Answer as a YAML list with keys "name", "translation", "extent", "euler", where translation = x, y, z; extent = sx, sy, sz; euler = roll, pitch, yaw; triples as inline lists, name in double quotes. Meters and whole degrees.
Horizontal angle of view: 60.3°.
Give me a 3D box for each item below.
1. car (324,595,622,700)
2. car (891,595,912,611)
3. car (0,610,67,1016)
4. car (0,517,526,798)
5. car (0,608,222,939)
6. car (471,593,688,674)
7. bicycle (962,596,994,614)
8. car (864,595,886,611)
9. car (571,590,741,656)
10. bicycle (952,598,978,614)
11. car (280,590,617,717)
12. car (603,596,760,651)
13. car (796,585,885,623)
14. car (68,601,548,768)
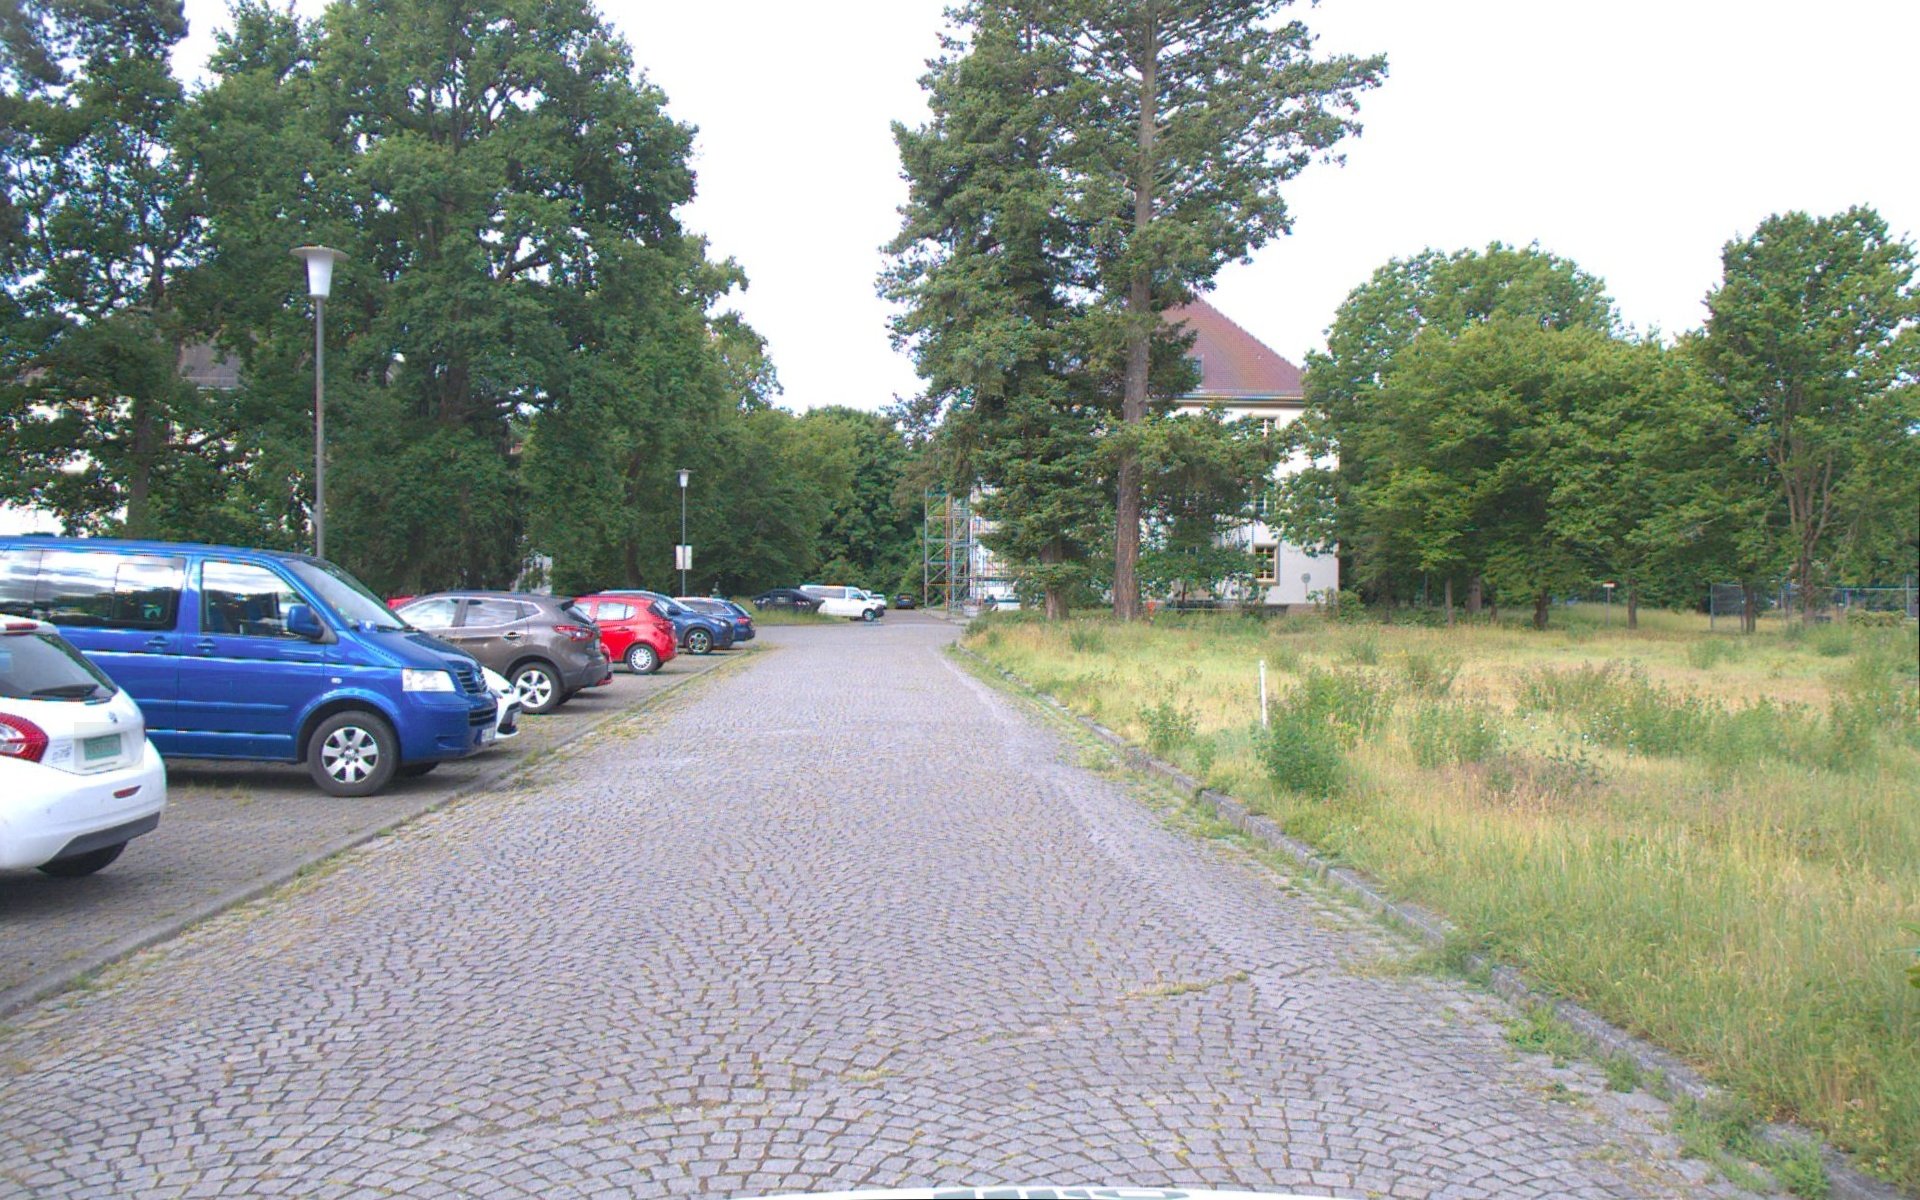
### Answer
- name: "car"
  translation: [-7.387, 0.699, 25.431]
  extent: [4.084, 1.536, 1.905]
  euler: [0, 0, -5]
- name: "car"
  translation: [-5.811, 0.297, 163.423]
  extent: [1.913, 1.548, 3.996]
  euler: [0, 0, -5]
- name: "car"
  translation: [-5.631, 0.808, 5.688]
  extent: [4.082, 1.517, 1.864]
  euler: [0, 0, -2]
- name: "car"
  translation: [-6.231, 0.433, 13.866]
  extent: [4.688, 2.159, 2.113]
  euler: [0, 0, -4]
- name: "car"
  translation: [-6.233, 0.816, 8.566]
  extent: [3.986, 1.523, 1.845]
  euler: [0, 0, -3]
- name: "car"
  translation: [-7.538, 0.636, 33.063]
  extent: [3.976, 1.552, 1.903]
  euler: [0, 0, -5]
- name: "bicycle"
  translation: [1.271, 0.335, 114.726]
  extent: [2.195, 1.276, 0.777]
  euler: [0, 0, -1]
- name: "car"
  translation: [-8.414, 0.311, 162.964]
  extent: [2.077, 1.548, 3.996]
  euler: [0, 0, -4]
- name: "car"
  translation: [-7.893, 0.590, 43.266]
  extent: [4.145, 1.604, 1.885]
  euler: [1, 0, -5]
- name: "bicycle"
  translation: [0.417, 0.484, 136.254]
  extent: [2.195, 1.276, 0.634]
  euler: [0, 0, -1]
- name: "car"
  translation: [-6.903, 0.684, 22.717]
  extent: [4.086, 1.650, 1.984]
  euler: [0, 0, -6]
- name: "car"
  translation: [-8.030, 0.667, 48.021]
  extent: [4.216, 1.486, 1.974]
  euler: [1, 0, -2]
- name: "car"
  translation: [-7.018, 0.229, 96.970]
  extent: [5.133, 2.206, 1.998]
  euler: [0, 0, -6]
- name: "car"
  translation: [-6.326, 0.782, 16.453]
  extent: [4.085, 1.536, 1.779]
  euler: [0, 0, -6]
